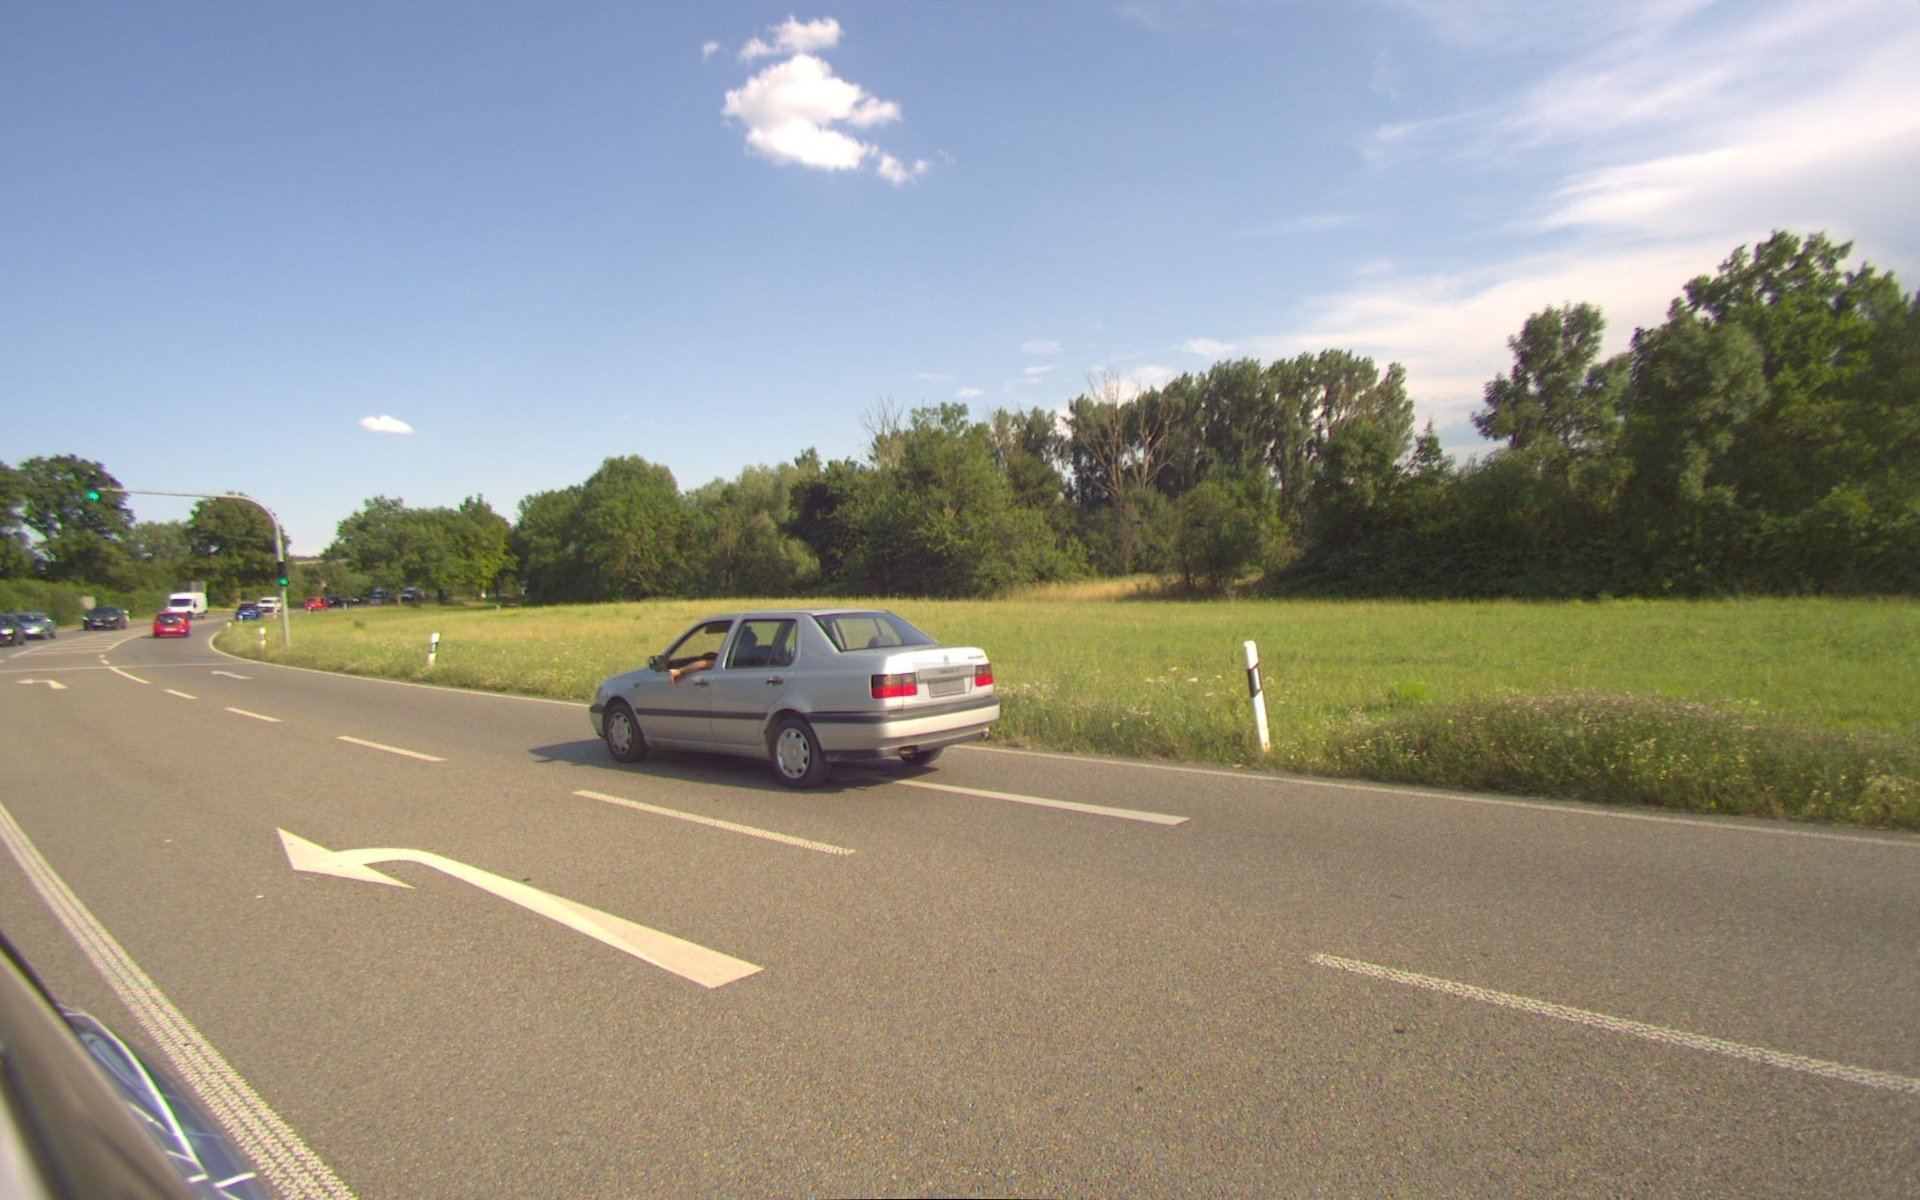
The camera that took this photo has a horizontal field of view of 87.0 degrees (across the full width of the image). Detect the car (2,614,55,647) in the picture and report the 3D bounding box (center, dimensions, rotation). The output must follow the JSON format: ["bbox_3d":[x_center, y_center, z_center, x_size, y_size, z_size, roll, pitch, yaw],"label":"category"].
[{"bbox_3d":[-49.644,1.595,53.990,1.609,1.570,3.426,1,0,-34],"label":"car"}]

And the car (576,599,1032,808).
[{"bbox_3d":[-1.557,0.768,9.095,4.174,1.439,1.690,-1,0,39],"label":"car"}]

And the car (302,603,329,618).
[{"bbox_3d":[-81.150,1.318,127.462,1.854,1.789,4.335,0,-1,-19],"label":"car"}]

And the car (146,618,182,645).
[{"bbox_3d":[-45.484,1.767,57.887,1.565,1.478,3.614,1,-2,-38],"label":"car"}]

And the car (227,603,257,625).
[{"bbox_3d":[-65.582,1.309,92.464,1.700,1.897,4.349,0,-1,-29],"label":"car"}]

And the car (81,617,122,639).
[{"bbox_3d":[-59.152,1.897,69.793,1.581,1.490,3.627,1,-2,-31],"label":"car"}]

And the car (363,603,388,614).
[{"bbox_3d":[-90.080,1.306,155.911,1.856,1.598,4.338,0,-1,-9],"label":"car"}]

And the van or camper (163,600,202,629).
[{"bbox_3d":[-73.374,1.333,95.591,2.000,2.494,5.093,-3,1,-28],"label":"van or camper"}]

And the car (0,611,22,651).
[{"bbox_3d":[-43.963,1.382,45.903,1.648,1.741,3.676,2,-1,-37],"label":"car"}]
